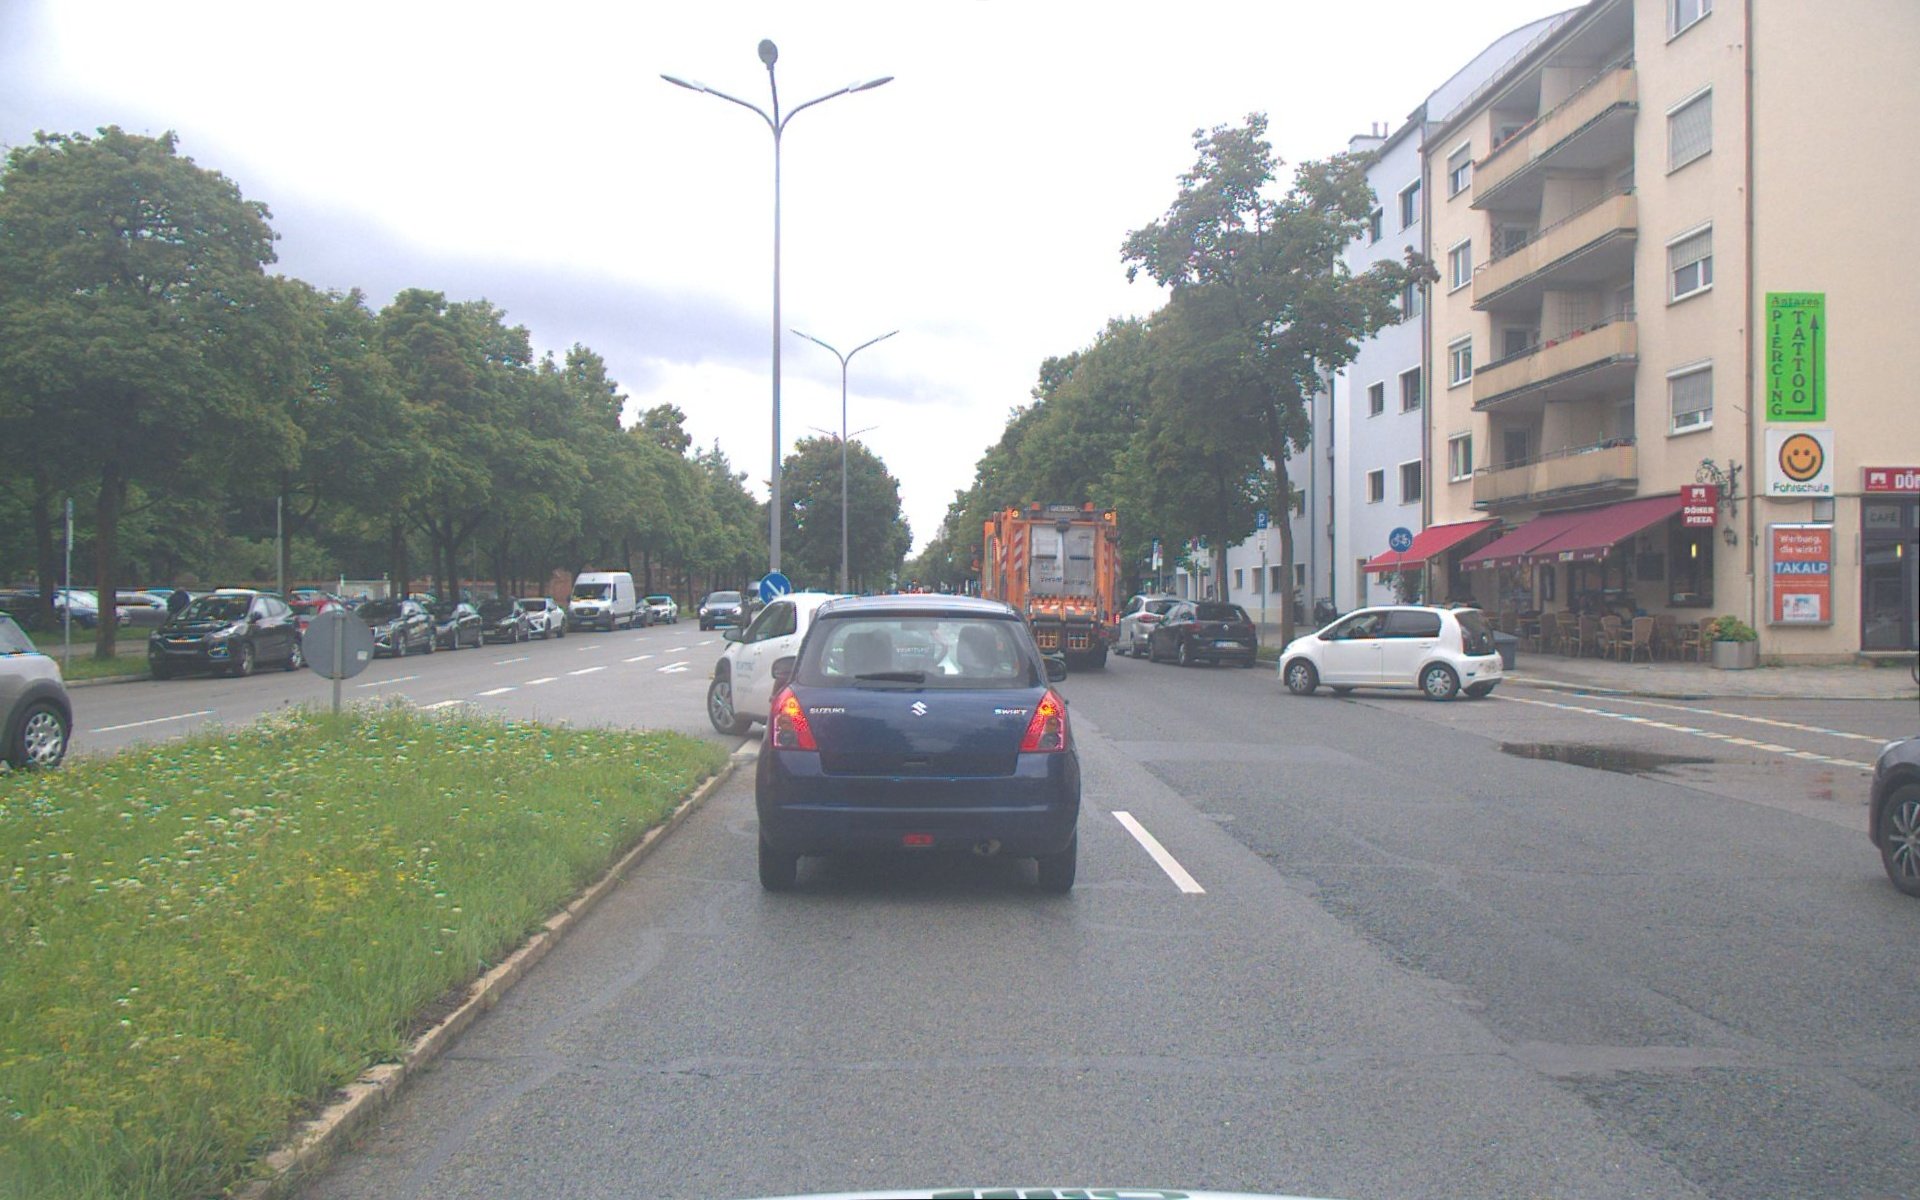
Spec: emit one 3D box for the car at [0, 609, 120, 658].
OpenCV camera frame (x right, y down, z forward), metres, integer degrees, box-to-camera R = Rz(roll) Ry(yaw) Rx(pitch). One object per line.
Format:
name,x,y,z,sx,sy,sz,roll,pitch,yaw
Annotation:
car,-29.035,1.055,52.572,3.792,1.471,1.670,1,0,-7

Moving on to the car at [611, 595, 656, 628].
car,-16.399,0.585,83.228,1.600,1.610,3.877,1,0,-2

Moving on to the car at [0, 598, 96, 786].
car,-8.631,0.742,12.584,1.646,1.488,3.737,0,0,12

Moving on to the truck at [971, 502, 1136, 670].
truck,1.856,-0.296,36.965,2.977,3.245,9.131,1,0,-1

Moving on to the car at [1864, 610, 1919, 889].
car,5.999,0.829,7.589,1.584,1.491,3.673,2,0,-2

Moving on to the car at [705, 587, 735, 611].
car,-16.467,-0.074,113.749,1.600,1.610,3.877,1,0,-2

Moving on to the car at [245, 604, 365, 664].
car,-15.373,0.767,38.963,1.559,1.335,3.379,1,0,-2

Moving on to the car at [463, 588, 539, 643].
car,-15.467,0.511,55.856,1.600,1.771,3.877,1,0,-2

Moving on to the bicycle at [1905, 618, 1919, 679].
bicycle,16.312,0.795,26.721,1.810,0.974,0.557,1,0,-3

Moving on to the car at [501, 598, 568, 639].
car,-15.703,0.658,61.184,1.600,1.456,3.877,1,0,-2

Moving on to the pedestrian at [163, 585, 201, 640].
pedestrian,-22.496,0.368,47.827,0.713,1.561,0.720,1,0,-1

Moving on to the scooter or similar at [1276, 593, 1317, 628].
scooter or similar,13.134,0.406,64.590,1.012,1.330,2.754,0,0,-1

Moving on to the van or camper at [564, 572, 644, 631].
van or camper,-16.148,0.059,75.357,2.074,2.525,7.447,1,0,-1

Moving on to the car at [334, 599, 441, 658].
car,-15.181,0.721,44.044,1.634,1.471,3.877,1,0,-2

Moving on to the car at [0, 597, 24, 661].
car,-28.243,0.780,45.583,3.844,1.748,1.670,1,0,-7

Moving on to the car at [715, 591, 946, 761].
car,-1.367,0.670,16.471,1.424,1.509,3.085,0,0,-22

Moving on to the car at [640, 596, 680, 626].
car,-16.454,0.588,90.875,1.600,1.610,3.877,1,0,-2

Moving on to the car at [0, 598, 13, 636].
car,-39.795,0.620,64.569,4.596,1.471,1.672,1,0,-1

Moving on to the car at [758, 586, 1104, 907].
car,-0.219,0.687,9.874,1.648,1.528,3.917,0,0,-3

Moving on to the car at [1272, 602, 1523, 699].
car,7.055,0.761,26.788,3.493,1.442,1.862,0,0,40

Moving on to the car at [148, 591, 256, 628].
car,-32.040,0.392,70.022,3.792,1.471,1.670,1,0,-7

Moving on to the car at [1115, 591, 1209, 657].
car,5.167,0.585,42.858,1.756,1.585,4.222,0,0,-2

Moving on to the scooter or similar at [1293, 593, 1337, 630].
scooter or similar,13.140,0.427,61.257,1.012,1.330,2.754,0,0,-1

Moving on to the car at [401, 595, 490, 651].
car,-15.343,0.655,49.480,1.559,1.585,3.877,1,0,-2

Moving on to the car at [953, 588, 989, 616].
car,0.558,0.087,87.163,1.723,1.438,4.461,1,0,-2

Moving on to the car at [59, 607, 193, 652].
car,-29.152,1.024,57.900,3.792,1.471,1.670,1,0,-7

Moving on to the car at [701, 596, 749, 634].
car,-10.014,0.620,70.724,1.600,1.580,3.877,1,0,-2

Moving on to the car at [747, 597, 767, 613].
car,-20.271,0.487,165.135,1.600,1.610,3.877,1,0,-2

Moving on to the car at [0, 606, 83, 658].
car,-28.224,0.933,48.764,3.792,1.471,1.670,1,0,-7

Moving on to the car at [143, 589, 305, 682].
car,-14.953,0.682,33.815,1.682,1.771,3.877,1,0,-2

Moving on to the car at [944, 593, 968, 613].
car,-0.315,0.191,123.302,1.648,1.408,3.917,1,0,-2

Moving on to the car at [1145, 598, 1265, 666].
car,5.570,0.690,38.095,1.829,1.442,4.220,0,0,-5
